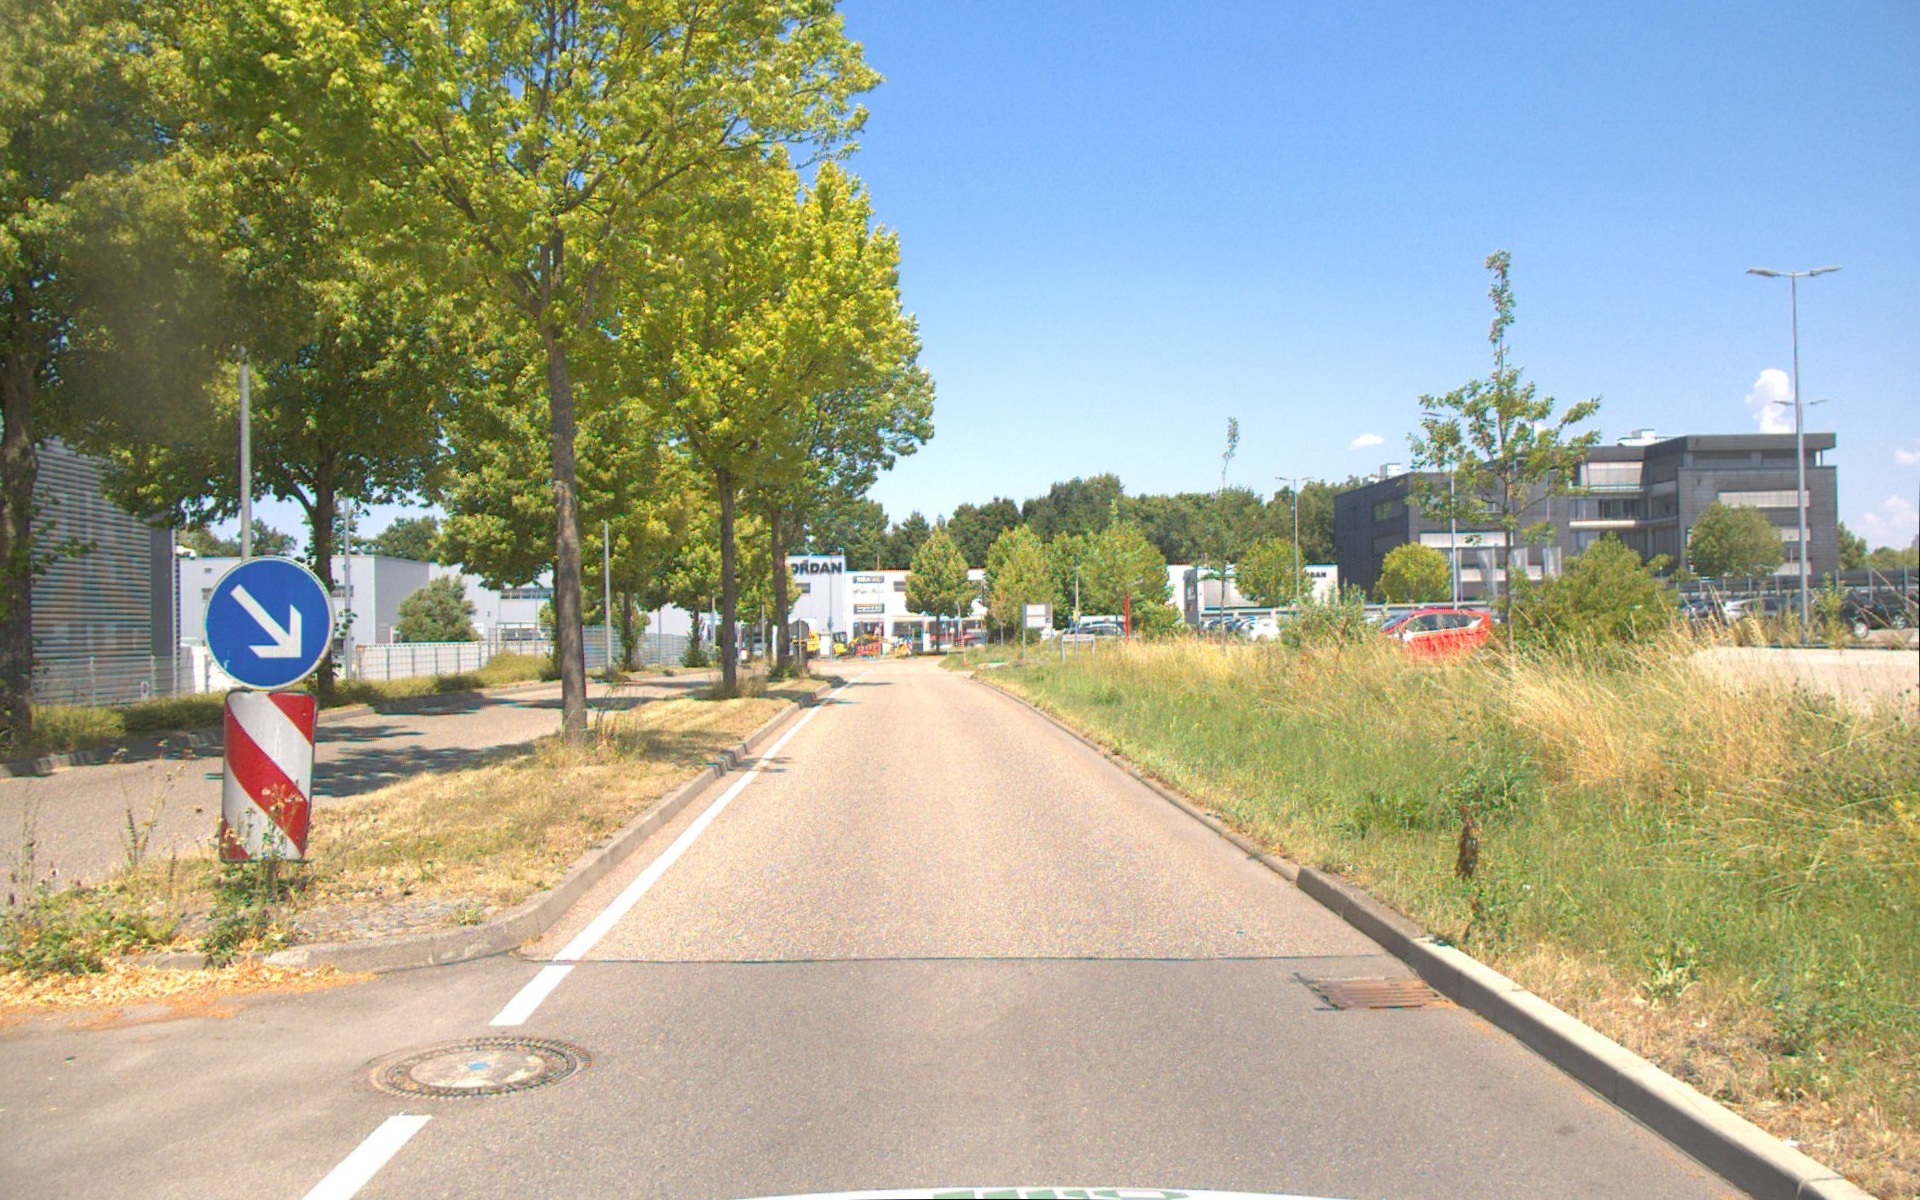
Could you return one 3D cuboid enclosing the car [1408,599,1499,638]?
[{"bbox_3d":[24.517,0.913,82.234,3.911,1.623,1.859,-3,2,-6],"label":"car"}]

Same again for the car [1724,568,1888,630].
[{"bbox_3d":[25.491,-0.013,49.903,3.907,1.670,1.926,-2,-2,-3],"label":"car"}]

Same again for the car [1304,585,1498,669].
[{"bbox_3d":[10.242,0.636,38.590,3.907,1.754,1.926,-2,-2,-3],"label":"car"}]

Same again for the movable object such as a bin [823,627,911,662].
[{"bbox_3d":[-8.333,3.997,148.852,7.367,2.543,3.669,-3,2,5],"label":"movable object such as a bin"}]

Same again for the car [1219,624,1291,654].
[{"bbox_3d":[17.892,2.351,100.332,3.911,1.516,1.767,-3,2,-6],"label":"car"}]

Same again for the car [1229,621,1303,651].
[{"bbox_3d":[17.974,2.107,97.263,3.911,1.424,1.767,-3,2,-6],"label":"car"}]

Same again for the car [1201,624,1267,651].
[{"bbox_3d":[17.796,2.420,107.469,3.911,1.424,1.767,-3,2,-6],"label":"car"}]

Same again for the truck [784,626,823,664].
[{"bbox_3d":[-14.099,4.010,148.593,2.886,2.936,5.795,-3,2,-11],"label":"truck"}]

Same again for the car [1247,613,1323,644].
[{"bbox_3d":[18.535,1.613,94.328,3.909,1.424,1.767,-3,2,-5],"label":"car"}]

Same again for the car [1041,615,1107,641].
[{"bbox_3d":[7.499,1.818,108.986,4.083,1.424,1.767,-3,2,-6],"label":"car"}]

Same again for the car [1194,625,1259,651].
[{"bbox_3d":[17.715,2.523,110.163,3.911,1.424,1.767,-3,2,-6],"label":"car"}]

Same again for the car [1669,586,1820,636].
[{"bbox_3d":[25.330,0.358,53.492,3.907,1.420,1.926,-2,-2,-3],"label":"car"}]
